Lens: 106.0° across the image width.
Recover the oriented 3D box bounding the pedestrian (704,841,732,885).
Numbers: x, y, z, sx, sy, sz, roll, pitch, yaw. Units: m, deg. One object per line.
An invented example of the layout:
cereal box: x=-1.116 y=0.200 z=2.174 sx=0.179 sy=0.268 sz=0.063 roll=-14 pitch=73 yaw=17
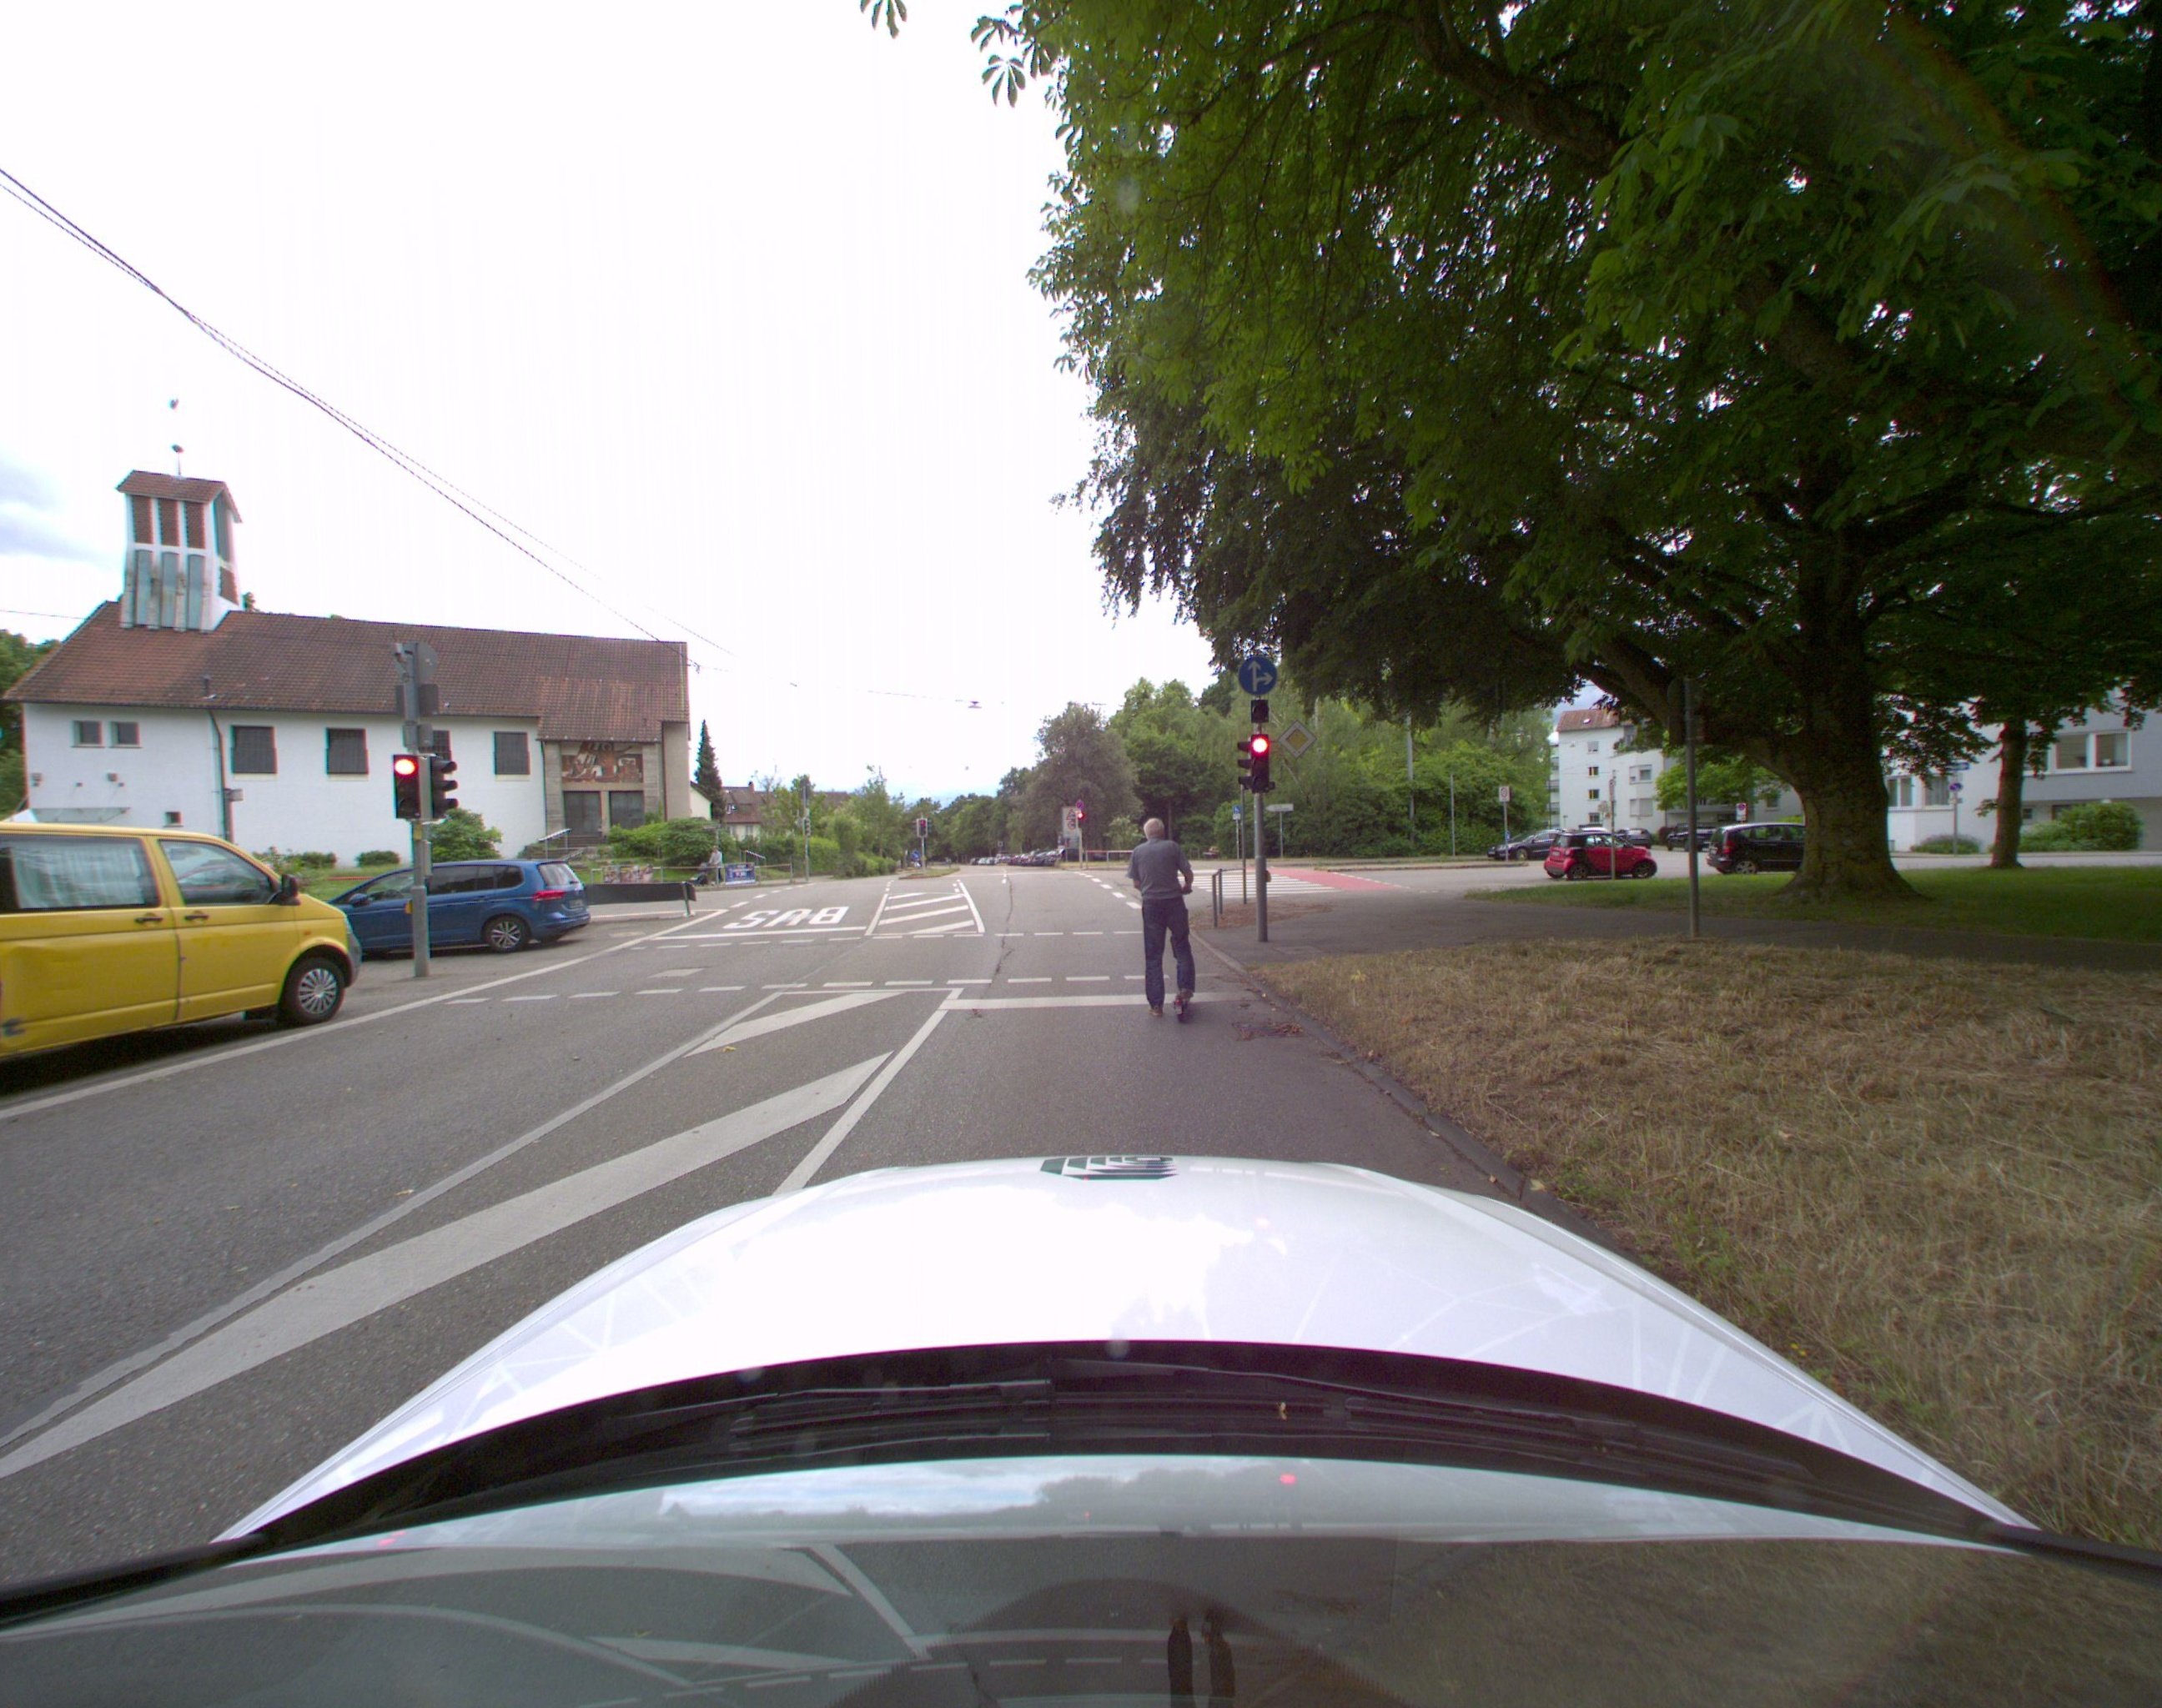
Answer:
pedestrian: x=-15.728 y=0.391 z=35.313 sx=0.567 sy=1.862 sz=0.892 roll=-2 pitch=0 yaw=23

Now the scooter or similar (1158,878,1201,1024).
scooter or similar: x=0.921 y=0.841 z=7.489 sx=0.280 sy=1.178 sz=1.180 roll=-2 pitch=0 yaw=10

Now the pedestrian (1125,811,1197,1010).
pedestrian: x=0.758 y=0.520 z=7.670 sx=0.569 sy=1.813 sz=0.421 roll=-2 pitch=0 yaw=10

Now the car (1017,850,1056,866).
car: x=-4.927 y=0.442 z=89.370 sx=3.856 sy=1.610 sz=1.716 roll=-3 pitch=0 yaw=-21

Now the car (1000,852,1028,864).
car: x=-10.119 y=0.649 z=122.350 sx=3.856 sy=1.610 sz=1.716 roll=-3 pitch=0 yaw=-21

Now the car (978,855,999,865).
car: x=-18.143 y=1.160 z=159.447 sx=3.856 sy=1.610 sz=1.716 roll=-3 pitch=0 yaw=-21

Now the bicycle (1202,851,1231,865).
bicycle: x=9.575 y=0.302 z=57.528 sx=1.918 sy=0.959 sz=0.493 roll=0 pitch=0 yaw=-8

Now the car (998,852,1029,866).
car: x=-9.046 y=0.694 z=109.346 sx=3.856 sy=1.610 sz=1.716 roll=-3 pitch=0 yaw=-21

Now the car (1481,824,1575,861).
car: x=21.115 y=-0.558 z=38.597 sx=3.498 sy=1.530 sz=1.732 roll=-3 pitch=0 yaw=8

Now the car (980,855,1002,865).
car: x=-17.317 y=1.154 z=156.855 sx=3.856 sy=1.610 sz=1.716 roll=-3 pitch=0 yaw=-21

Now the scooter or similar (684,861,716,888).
scooter or similar: x=-16.076 y=0.843 z=34.388 sx=0.571 sy=1.081 sz=1.117 roll=-2 pitch=0 yaw=22

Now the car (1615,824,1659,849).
car: x=38.959 y=-1.273 z=57.133 sx=1.707 sy=1.610 sz=3.875 roll=-3 pitch=1 yaw=22

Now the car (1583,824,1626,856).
car: x=28.790 y=-0.786 z=44.888 sx=1.706 sy=1.610 sz=3.878 roll=-3 pitch=1 yaw=30

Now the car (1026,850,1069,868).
car: x=-3.273 y=0.482 z=79.562 sx=3.856 sy=1.610 sz=1.716 roll=-3 pitch=0 yaw=-21

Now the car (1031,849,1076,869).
car: x=-2.586 y=0.471 z=77.002 sx=3.857 sy=1.610 sz=1.715 roll=-3 pitch=0 yaw=-22

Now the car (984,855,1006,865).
car: x=-16.339 y=1.191 z=154.696 sx=3.856 sy=1.610 sz=1.716 roll=-3 pitch=0 yaw=-21

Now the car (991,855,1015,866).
car: x=-13.384 y=1.151 z=139.635 sx=3.856 sy=1.610 sz=1.716 roll=-3 pitch=0 yaw=-21

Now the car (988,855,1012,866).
car: x=-14.323 y=1.161 z=143.335 sx=3.856 sy=1.610 sz=1.716 roll=-3 pitch=0 yaw=-21

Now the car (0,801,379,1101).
car: x=-8.296 y=0.683 z=6.336 sx=1.880 sy=2.013 sz=4.558 roll=-2 pitch=0 yaw=-5

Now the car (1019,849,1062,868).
car: x=-4.043 y=0.457 z=81.617 sx=3.856 sy=1.610 sz=1.716 roll=-3 pitch=0 yaw=-21

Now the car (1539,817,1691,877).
car: x=16.529 y=-0.207 z=25.354 sx=3.499 sy=1.610 sz=1.732 roll=-3 pitch=0 yaw=7

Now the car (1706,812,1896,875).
car: x=20.835 y=-0.296 z=23.796 sx=3.805 sy=1.610 sz=1.739 roll=-3 pitch=1 yaw=27

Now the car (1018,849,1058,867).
car: x=-4.595 y=0.435 z=86.948 sx=3.856 sy=1.610 sz=1.716 roll=-3 pitch=0 yaw=-21

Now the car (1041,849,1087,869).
car: x=-1.576 y=0.443 z=75.006 sx=3.854 sy=1.610 sz=1.717 roll=-3 pitch=0 yaw=-19

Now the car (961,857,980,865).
car: x=-24.225 y=1.561 z=178.803 sx=3.856 sy=1.610 sz=1.716 roll=-3 pitch=0 yaw=-21

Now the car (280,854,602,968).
car: x=-11.061 y=0.917 z=14.421 sx=3.992 sy=1.610 sz=1.810 roll=-3 pitch=0 yaw=-14

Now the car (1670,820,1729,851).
car: x=35.572 y=-1.067 z=46.922 sx=1.707 sy=1.610 sz=3.875 roll=-3 pitch=1 yaw=22

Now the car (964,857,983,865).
car: x=-23.311 y=1.469 z=176.442 sx=3.856 sy=1.610 sz=1.716 roll=-3 pitch=0 yaw=-21
